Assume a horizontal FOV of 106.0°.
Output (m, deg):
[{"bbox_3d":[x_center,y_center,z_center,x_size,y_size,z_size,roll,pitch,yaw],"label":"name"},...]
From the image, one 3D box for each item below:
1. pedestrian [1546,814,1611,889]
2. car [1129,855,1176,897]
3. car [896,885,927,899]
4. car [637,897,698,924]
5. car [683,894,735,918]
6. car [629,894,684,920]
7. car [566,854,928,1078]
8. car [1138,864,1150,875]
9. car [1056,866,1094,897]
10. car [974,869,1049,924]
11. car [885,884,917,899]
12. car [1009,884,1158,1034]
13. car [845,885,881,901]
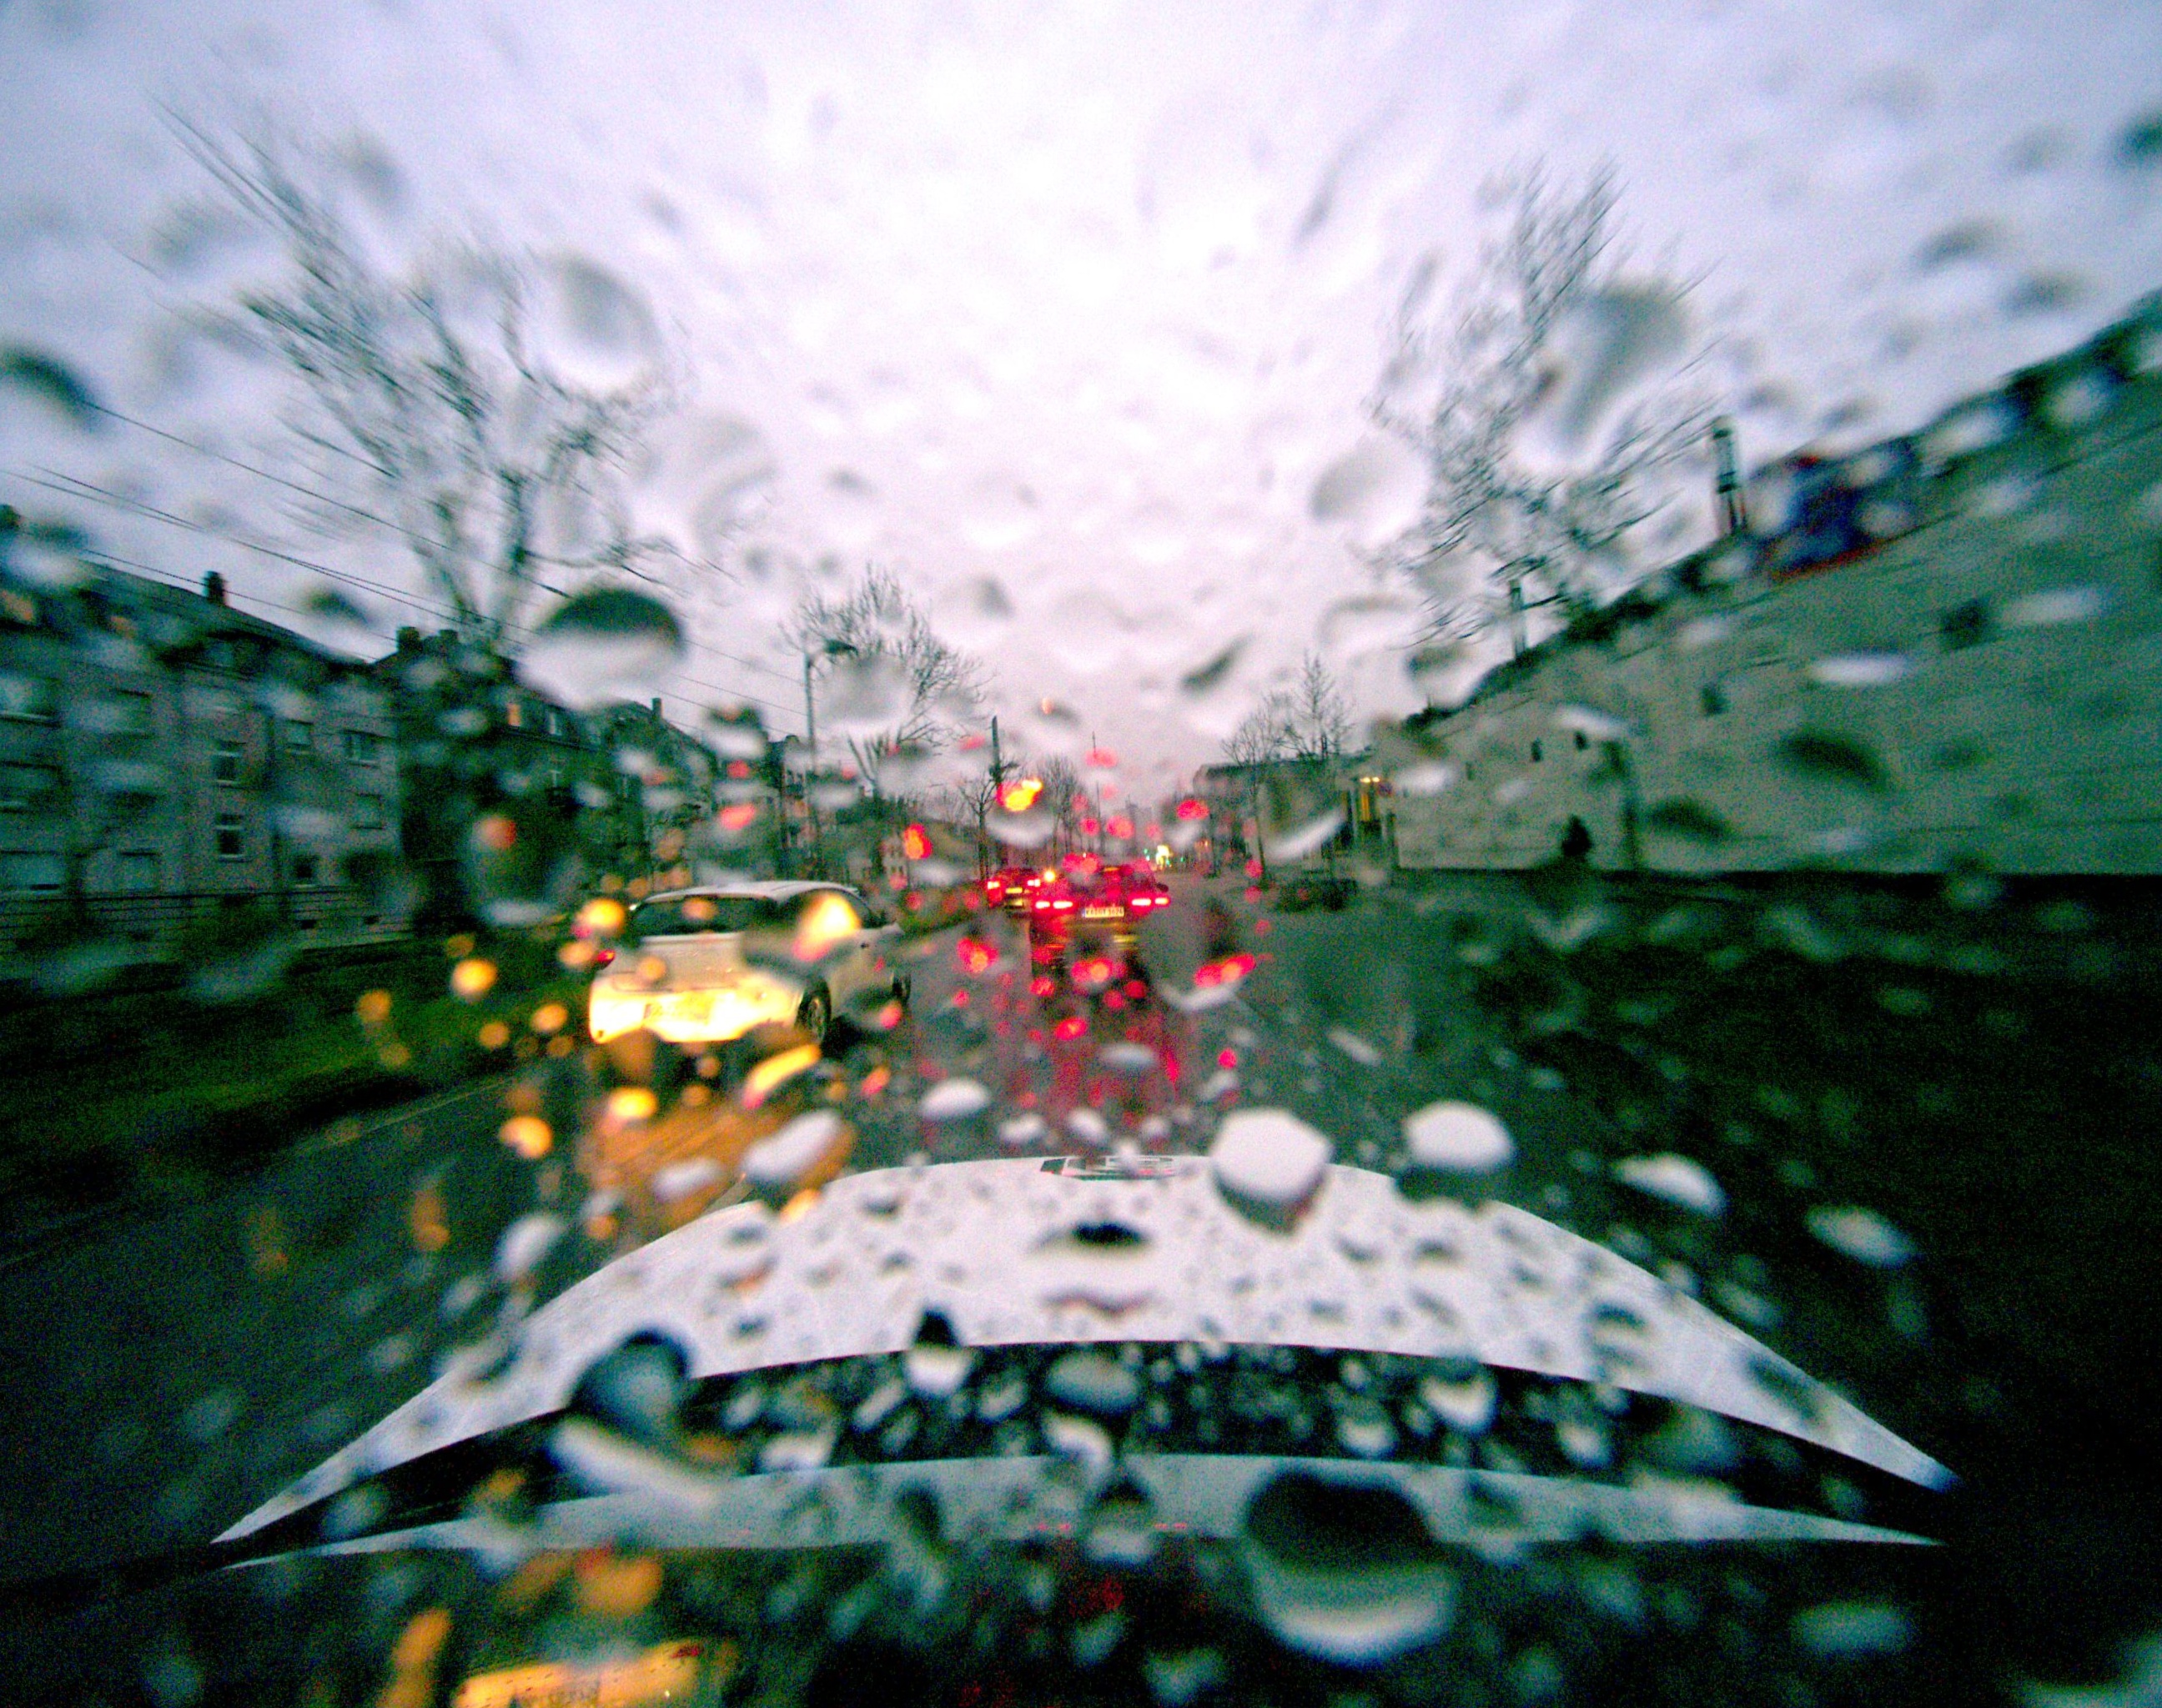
[{"bbox_3d":[11.416,-0.062,18.699,0.934,1.618,0.695,-5,-1,2],"label":"pedestrian"},{"bbox_3d":[3.377,1.009,38.461,1.984,1.744,4.006,-4,-1,5],"label":"car"},{"bbox_3d":[-20.364,4.594,97.893,3.510,1.354,1.793,-5,-1,38],"label":"car"},{"bbox_3d":[-26.374,3.585,52.087,1.768,1.354,3.561,-4,-1,4],"label":"car"},{"bbox_3d":[-25.977,3.645,56.997,1.768,1.354,3.561,-4,-1,4],"label":"car"},{"bbox_3d":[-29.968,3.733,57.636,1.768,1.500,3.561,-4,-1,4],"label":"car"},{"bbox_3d":[-2.900,0.879,8.139,1.665,1.600,4.057,-3,-1,4],"label":"car"},{"bbox_3d":[11.133,2.807,144.594,1.984,1.729,4.005,-4,-1,4],"label":"car"},{"bbox_3d":[-0.300,1.538,45.988,1.664,1.600,4.059,-3,-1,5],"label":"car"},{"bbox_3d":[-2.195,1.324,26.704,1.664,1.600,4.059,-3,-1,5],"label":"car"},{"bbox_3d":[-20.804,4.334,94.145,3.510,1.354,1.793,-5,-1,38],"label":"car"},{"bbox_3d":[0.211,1.314,11.569,1.664,1.600,4.059,-3,-1,5],"label":"car"},{"bbox_3d":[-22.307,3.945,83.239,3.510,1.354,1.793,-5,-1,38],"label":"car"}]
